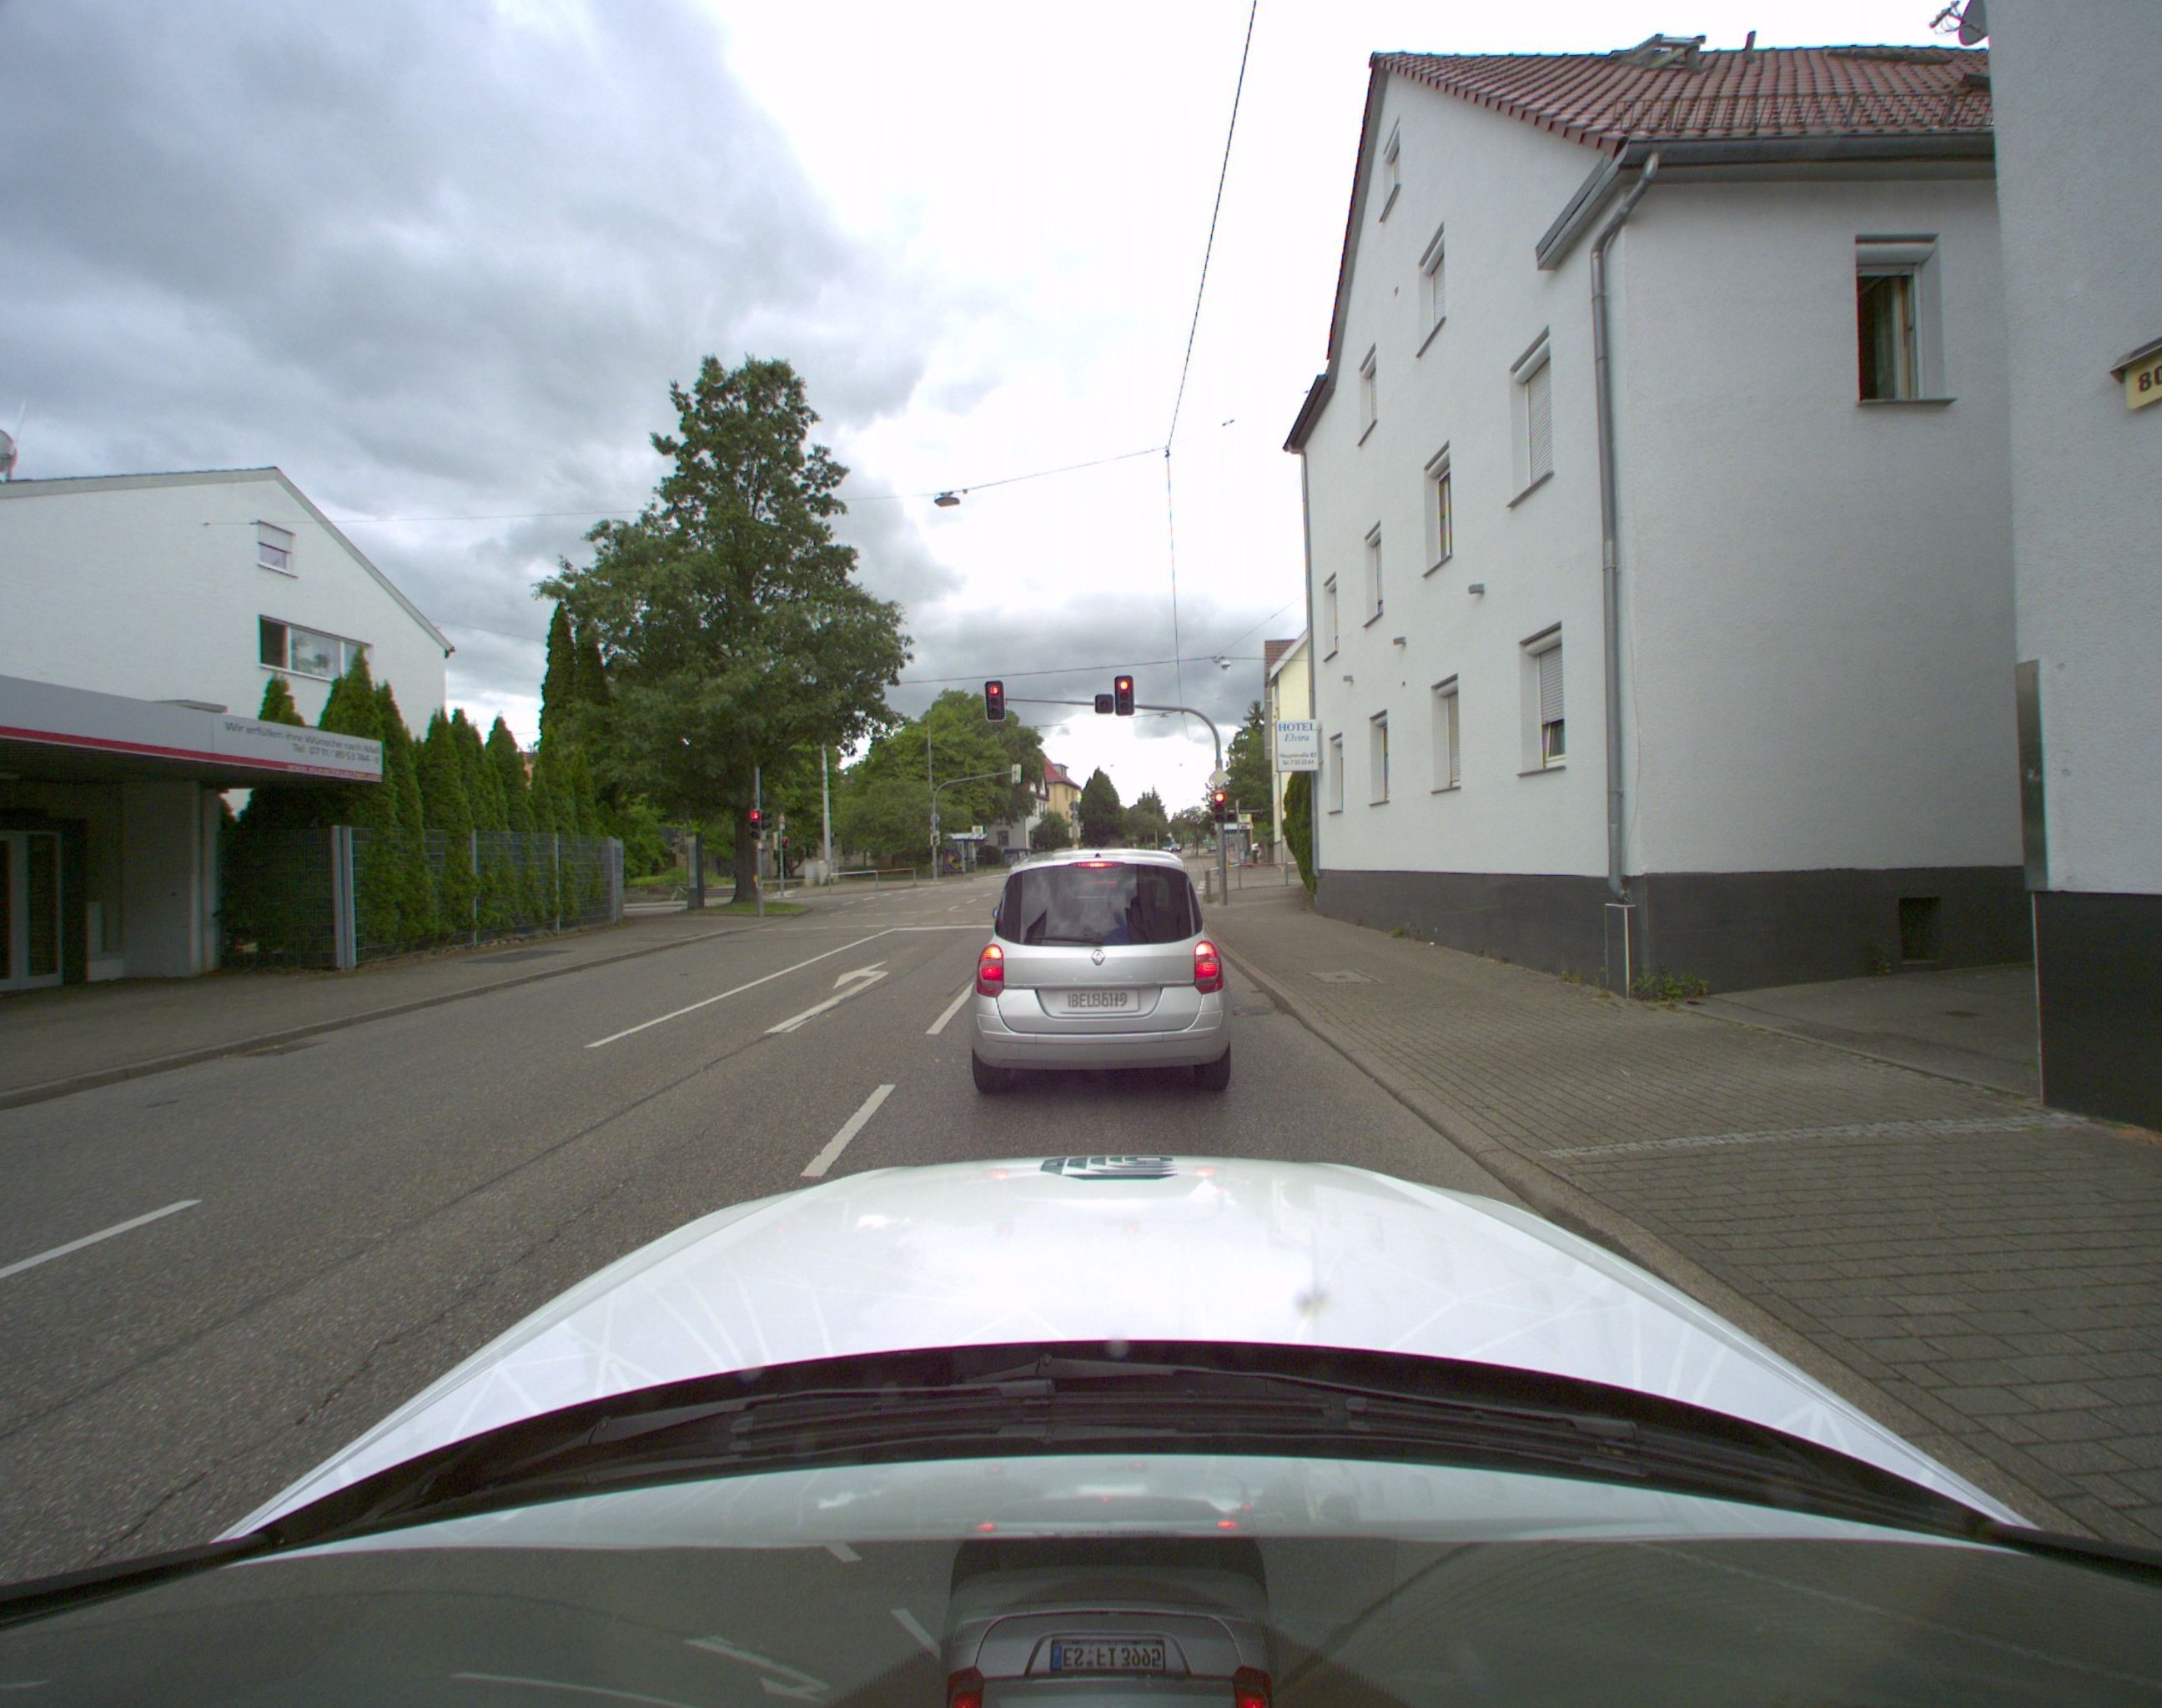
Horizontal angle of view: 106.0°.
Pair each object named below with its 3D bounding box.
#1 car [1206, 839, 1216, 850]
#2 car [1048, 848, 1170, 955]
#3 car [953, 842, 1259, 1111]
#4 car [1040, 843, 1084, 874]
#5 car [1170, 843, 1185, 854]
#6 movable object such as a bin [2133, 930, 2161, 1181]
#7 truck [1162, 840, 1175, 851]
[{"bbox_3d":[32.314,-2.298,202.723,2.044,2.512,5.616,-1,0,14],"label":"car"},{"bbox_3d":[0.455,0.695,13.746,1.748,1.530,3.798,-1,0,1],"label":"car"},{"bbox_3d":[0.195,0.715,6.710,1.748,1.530,4.001,-1,0,1],"label":"car"},{"bbox_3d":[-1.228,0.268,54.385,1.913,1.773,4.013,-6,-1,12],"label":"car"},{"bbox_3d":[15.325,-0.857,129.321,1.844,1.748,4.015,-1,0,13],"label":"car"},{"bbox_3d":[4.327,0.751,2.872,0.538,0.941,0.487,-4,-1,2],"label":"movable object such as a bin"},{"bbox_3d":[17.879,-1.729,166.366,2.088,2.013,5.766,-1,0,11],"label":"truck"}]
